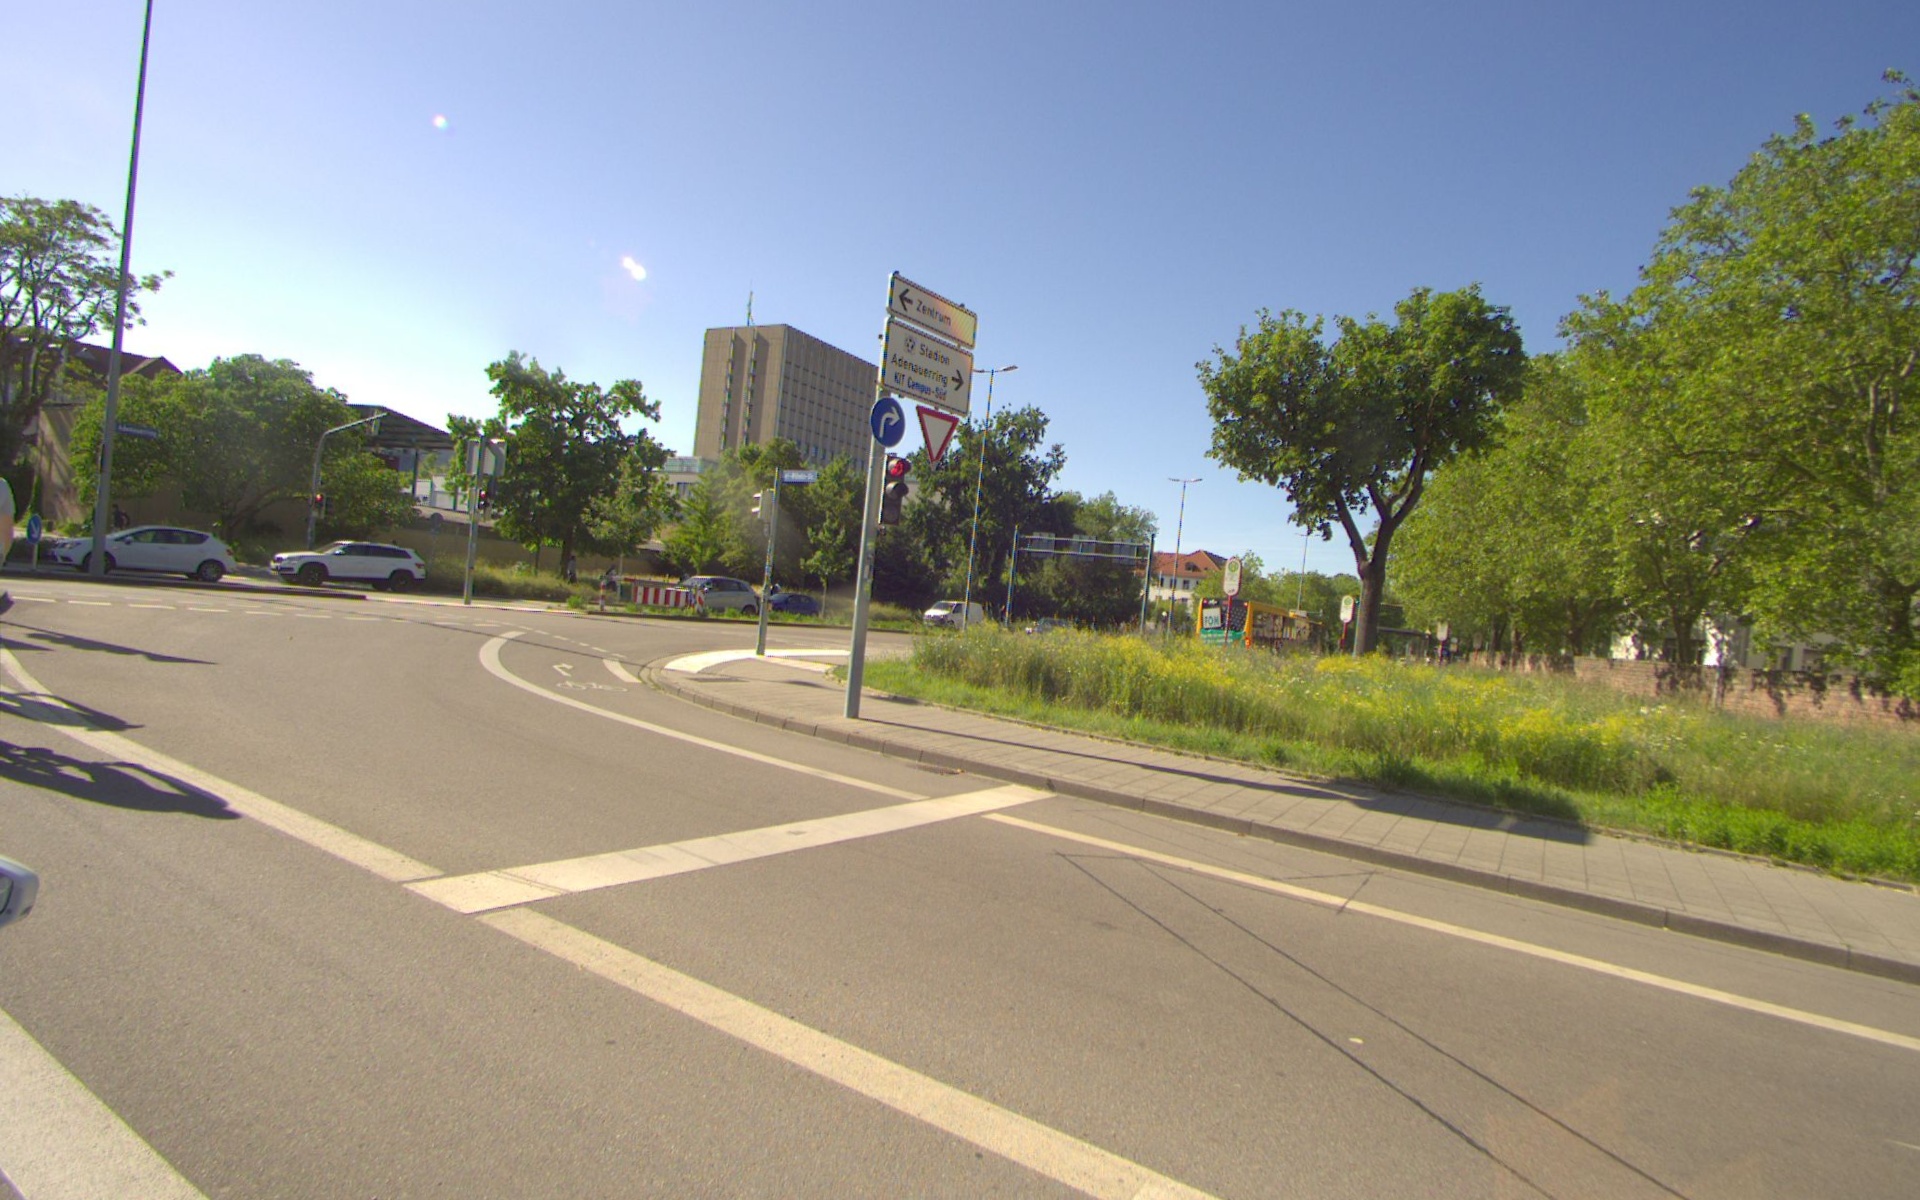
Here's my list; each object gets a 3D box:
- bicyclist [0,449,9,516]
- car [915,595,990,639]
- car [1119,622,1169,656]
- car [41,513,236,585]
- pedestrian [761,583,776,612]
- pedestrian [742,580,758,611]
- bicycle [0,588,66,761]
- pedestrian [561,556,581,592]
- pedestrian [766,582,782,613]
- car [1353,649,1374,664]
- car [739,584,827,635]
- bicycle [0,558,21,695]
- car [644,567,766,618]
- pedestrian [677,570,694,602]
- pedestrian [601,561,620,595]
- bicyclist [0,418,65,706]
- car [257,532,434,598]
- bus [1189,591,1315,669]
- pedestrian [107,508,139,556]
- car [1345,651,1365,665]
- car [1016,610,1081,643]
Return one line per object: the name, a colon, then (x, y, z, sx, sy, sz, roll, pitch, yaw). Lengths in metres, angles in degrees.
bicyclist: (-8.137, -0.374, 7.784, 1.048, 1.759, 0.647, 7, -1, 26)
car: (-0.428, 1.106, 64.466, 1.971, 2.131, 4.878, 6, -2, 39)
car: (14.928, 3.175, 81.476, 1.969, 2.186, 4.783, 6, -2, 35)
car: (-22.619, -1.378, 27.819, 1.717, 1.453, 3.835, 6, -1, 37)
pedestrian: (-11.621, -0.153, 60.981, 0.519, 1.716, 0.561, 7, 1, 35)
pedestrian: (-12.365, -0.256, 59.277, 0.519, 1.716, 0.561, 7, 1, 35)
bicycle: (-6.280, 0.357, 6.090, 1.946, 0.906, 0.741, 6, -2, 33)
pedestrian: (-19.053, -1.279, 49.305, 0.519, 1.716, 0.561, 7, 1, 35)
pedestrian: (-11.209, -0.165, 60.515, 0.519, 1.801, 0.561, 7, 1, 35)
car: (44.634, 6.201, 111.130, 1.812, 1.405, 4.068, 4, -2, 26)
car: (-9.038, 0.495, 51.580, 1.971, 2.037, 3.986, 6, -2, 40)
bicycle: (-8.203, 0.087, 7.779, 1.935, 1.014, 0.661, 6, -1, 26)
car: (-9.425, -0.257, 37.433, 1.840, 1.426, 4.046, 6, 0, 38)
pedestrian: (-15.252, -0.772, 55.925, 0.519, 1.716, 0.561, 7, 1, 35)
pedestrian: (-17.990, -1.133, 51.793, 0.519, 1.716, 0.561, 7, 1, 35)
bicyclist: (-6.167, -0.277, 6.072, 1.000, 1.688, 0.752, 6, -1, 33)
car: (-21.121, -1.169, 34.758, 1.817, 1.652, 4.821, 6, -1, 38)
bus: (14.224, 1.564, 48.260, 2.752, 2.662, 10.095, 6, -2, 34)
pedestrian: (-30.140, -2.458, 36.230, 0.590, 1.623, 0.735, 7, 1, 44)
car: (48.539, 7.147, 123.581, 1.812, 1.405, 4.066, 4, -2, 27)
car: (5.354, 1.624, 60.539, 1.966, 1.604, 4.740, 6, 0, 30)
